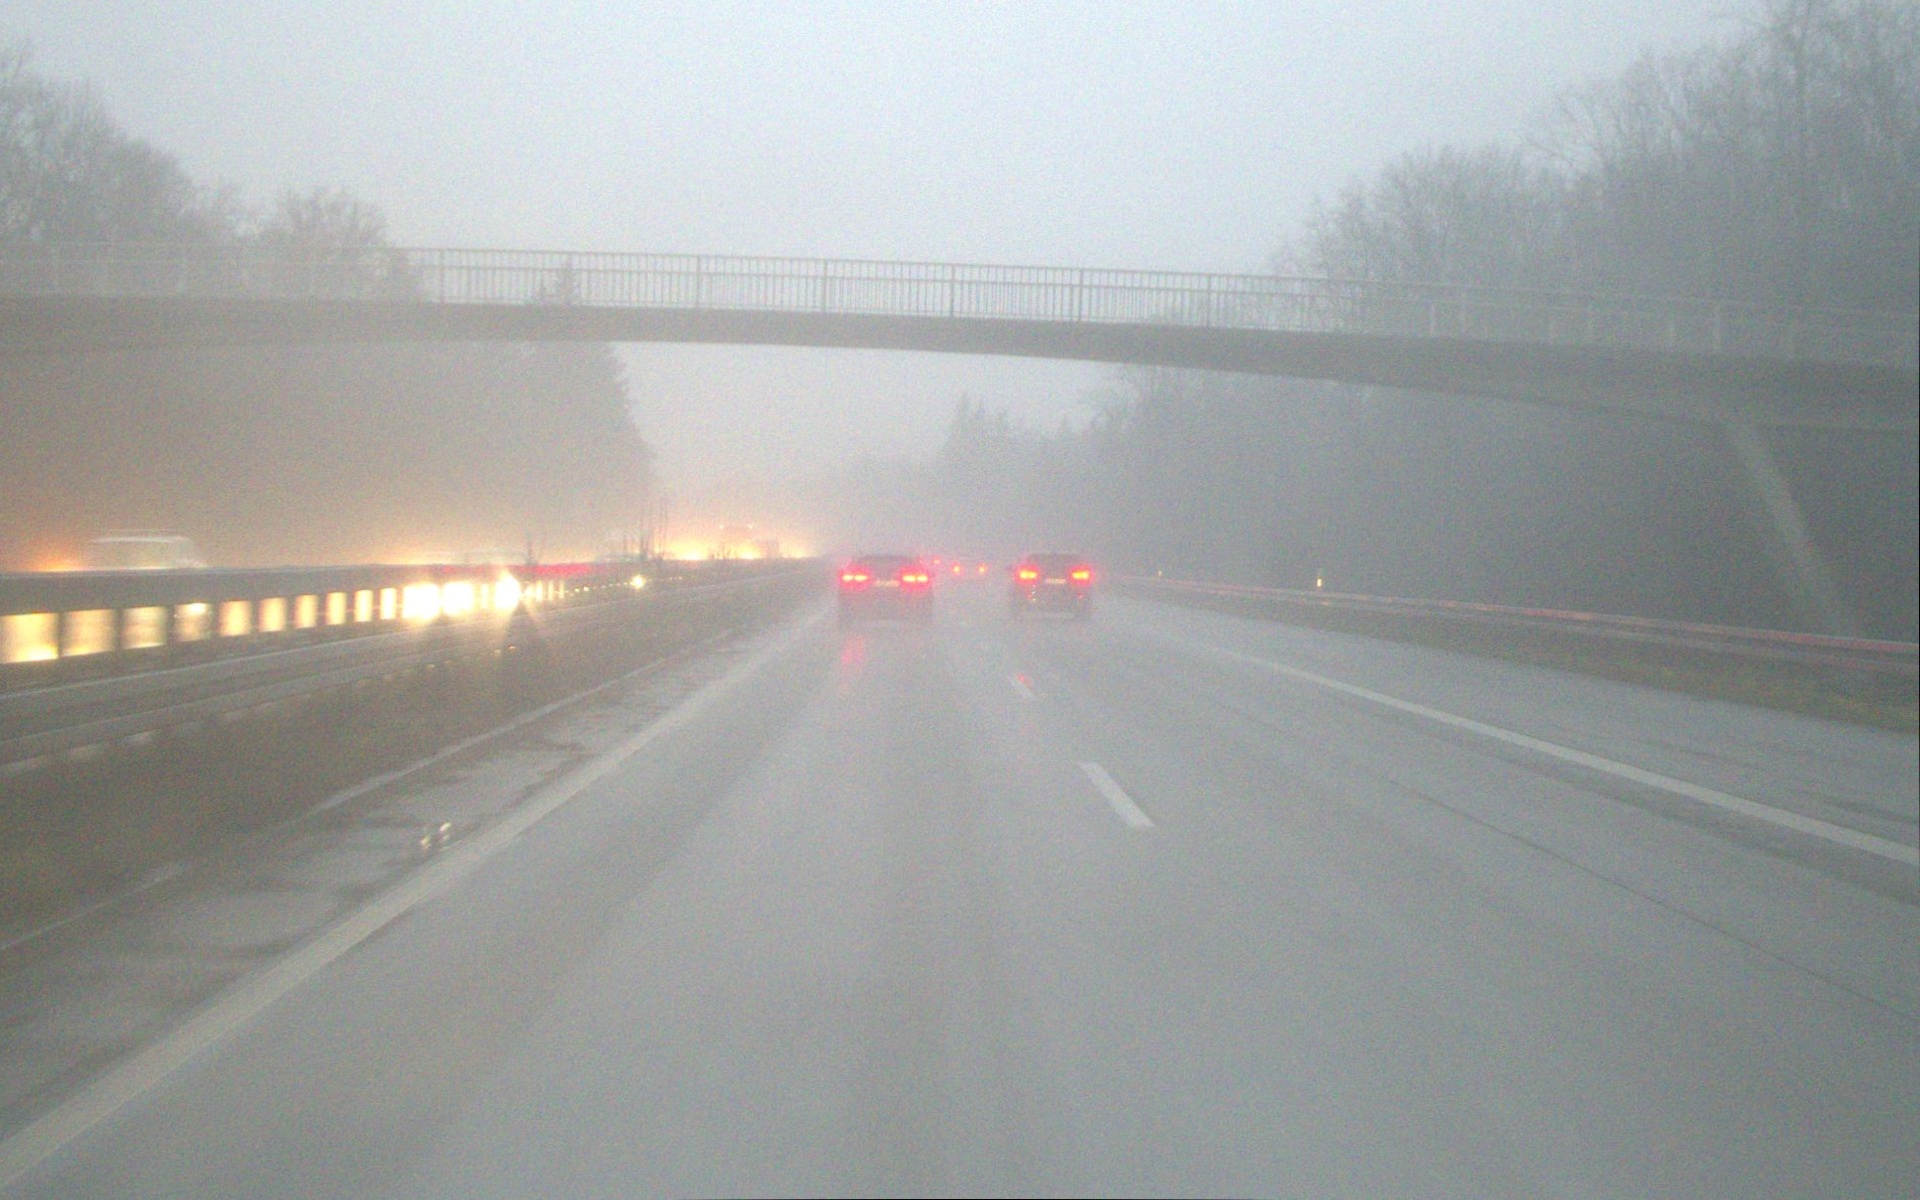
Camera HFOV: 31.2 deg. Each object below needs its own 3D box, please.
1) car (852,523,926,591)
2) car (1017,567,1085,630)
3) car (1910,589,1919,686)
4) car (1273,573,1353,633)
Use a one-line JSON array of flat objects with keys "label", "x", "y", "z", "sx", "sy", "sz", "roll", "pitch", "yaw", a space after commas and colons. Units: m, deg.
[{"label": "car", "x": -1.417, "y": -0.872, "z": 69.555, "sx": 1.454, "sy": 1.339, "sz": 3.490, "roll": 0, "pitch": 1, "yaw": -1}, {"label": "car", "x": 2.171, "y": -0.054, "z": 82.612, "sx": 1.454, "sy": 1.424, "sz": 3.490, "roll": 1, "pitch": 1, "yaw": -1}, {"label": "car", "x": 14.023, "y": 0.551, "z": 46.238, "sx": 1.454, "sy": 1.339, "sz": 3.490, "roll": 1, "pitch": 1, "yaw": -1}, {"label": "car", "x": 8.290, "y": 0.058, "z": 80.888, "sx": 1.454, "sy": 1.339, "sz": 3.490, "roll": 1, "pitch": 1, "yaw": -1}]
